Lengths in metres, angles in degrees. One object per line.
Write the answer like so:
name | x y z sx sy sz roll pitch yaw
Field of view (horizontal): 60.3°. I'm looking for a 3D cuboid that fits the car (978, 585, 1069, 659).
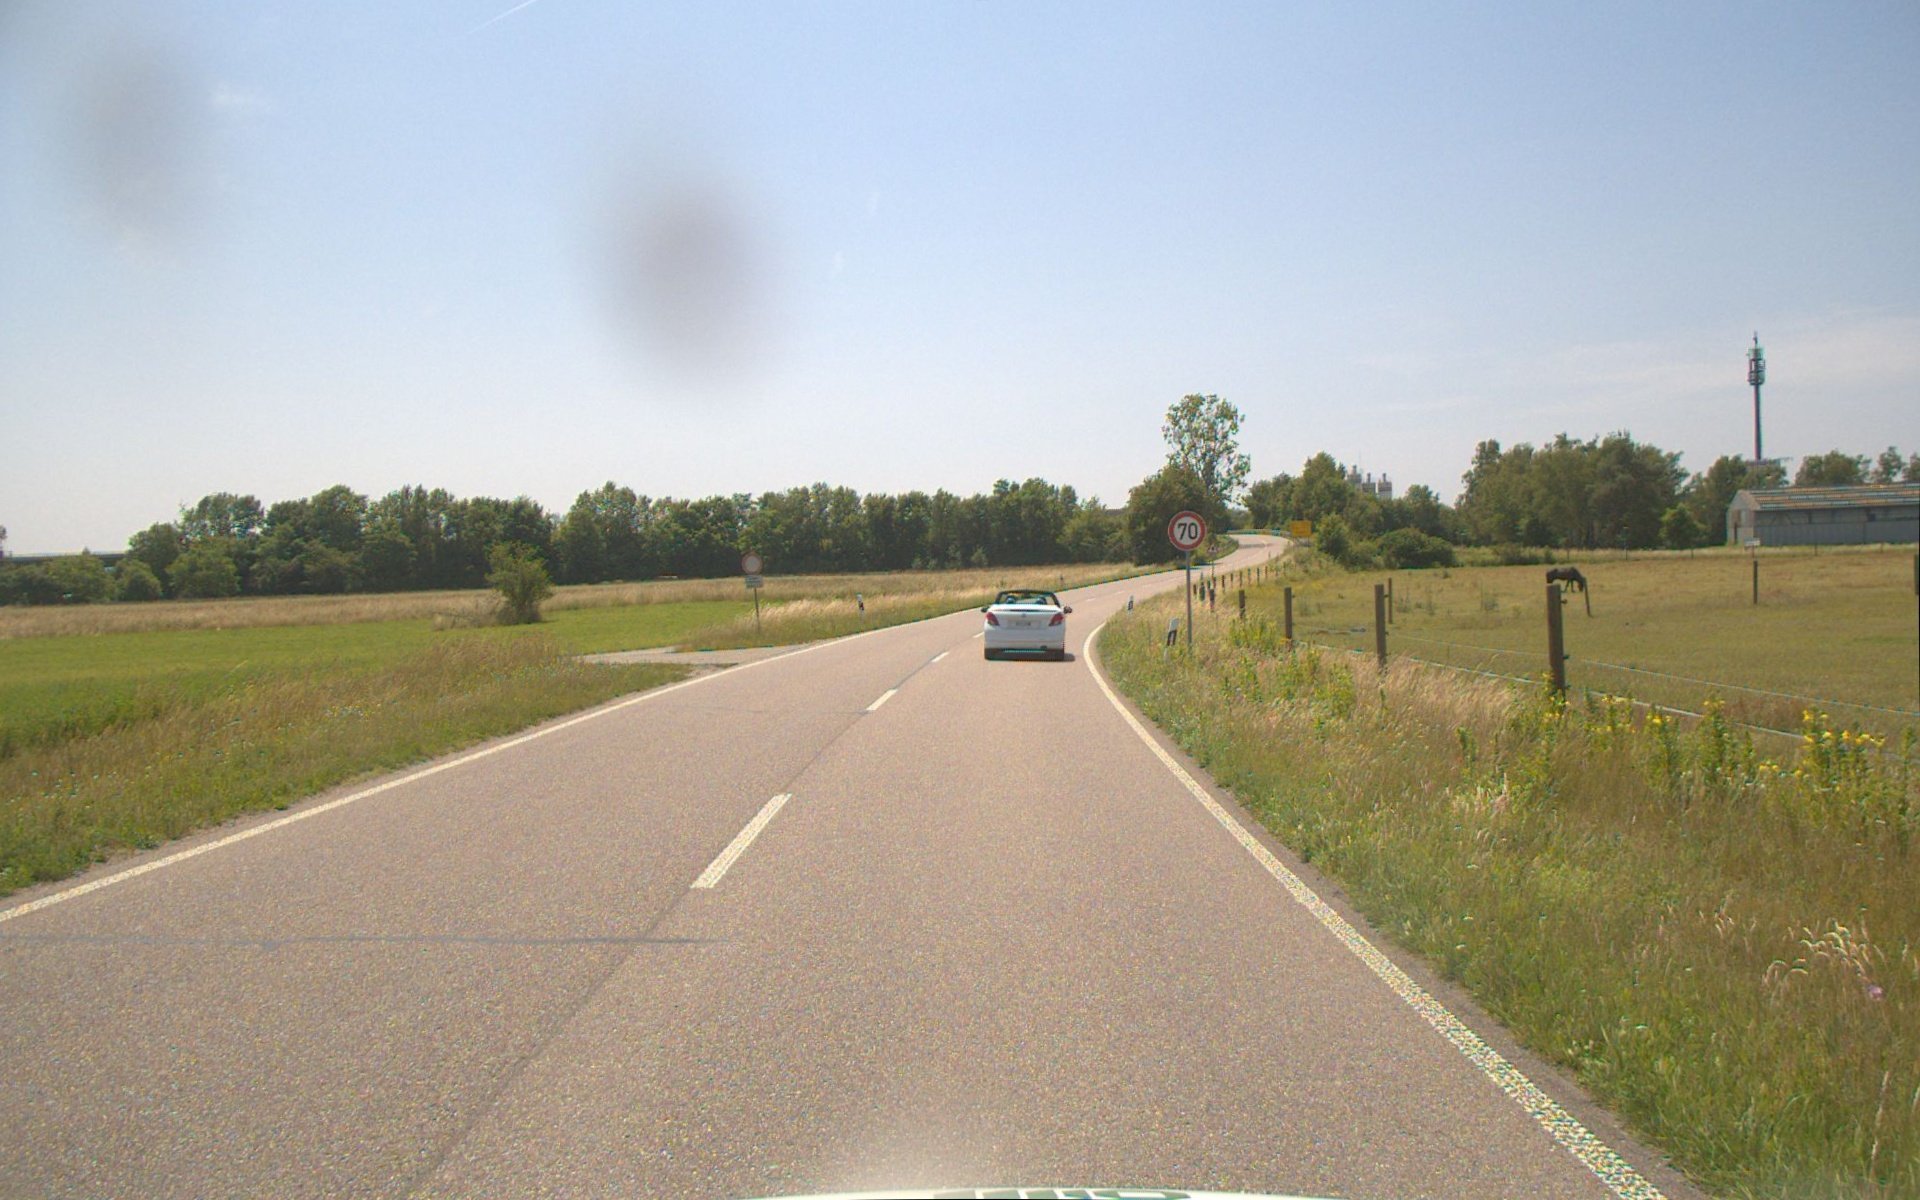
car | 1.375 0.423 34.954 1.812 1.403 4.002 0 1 3
